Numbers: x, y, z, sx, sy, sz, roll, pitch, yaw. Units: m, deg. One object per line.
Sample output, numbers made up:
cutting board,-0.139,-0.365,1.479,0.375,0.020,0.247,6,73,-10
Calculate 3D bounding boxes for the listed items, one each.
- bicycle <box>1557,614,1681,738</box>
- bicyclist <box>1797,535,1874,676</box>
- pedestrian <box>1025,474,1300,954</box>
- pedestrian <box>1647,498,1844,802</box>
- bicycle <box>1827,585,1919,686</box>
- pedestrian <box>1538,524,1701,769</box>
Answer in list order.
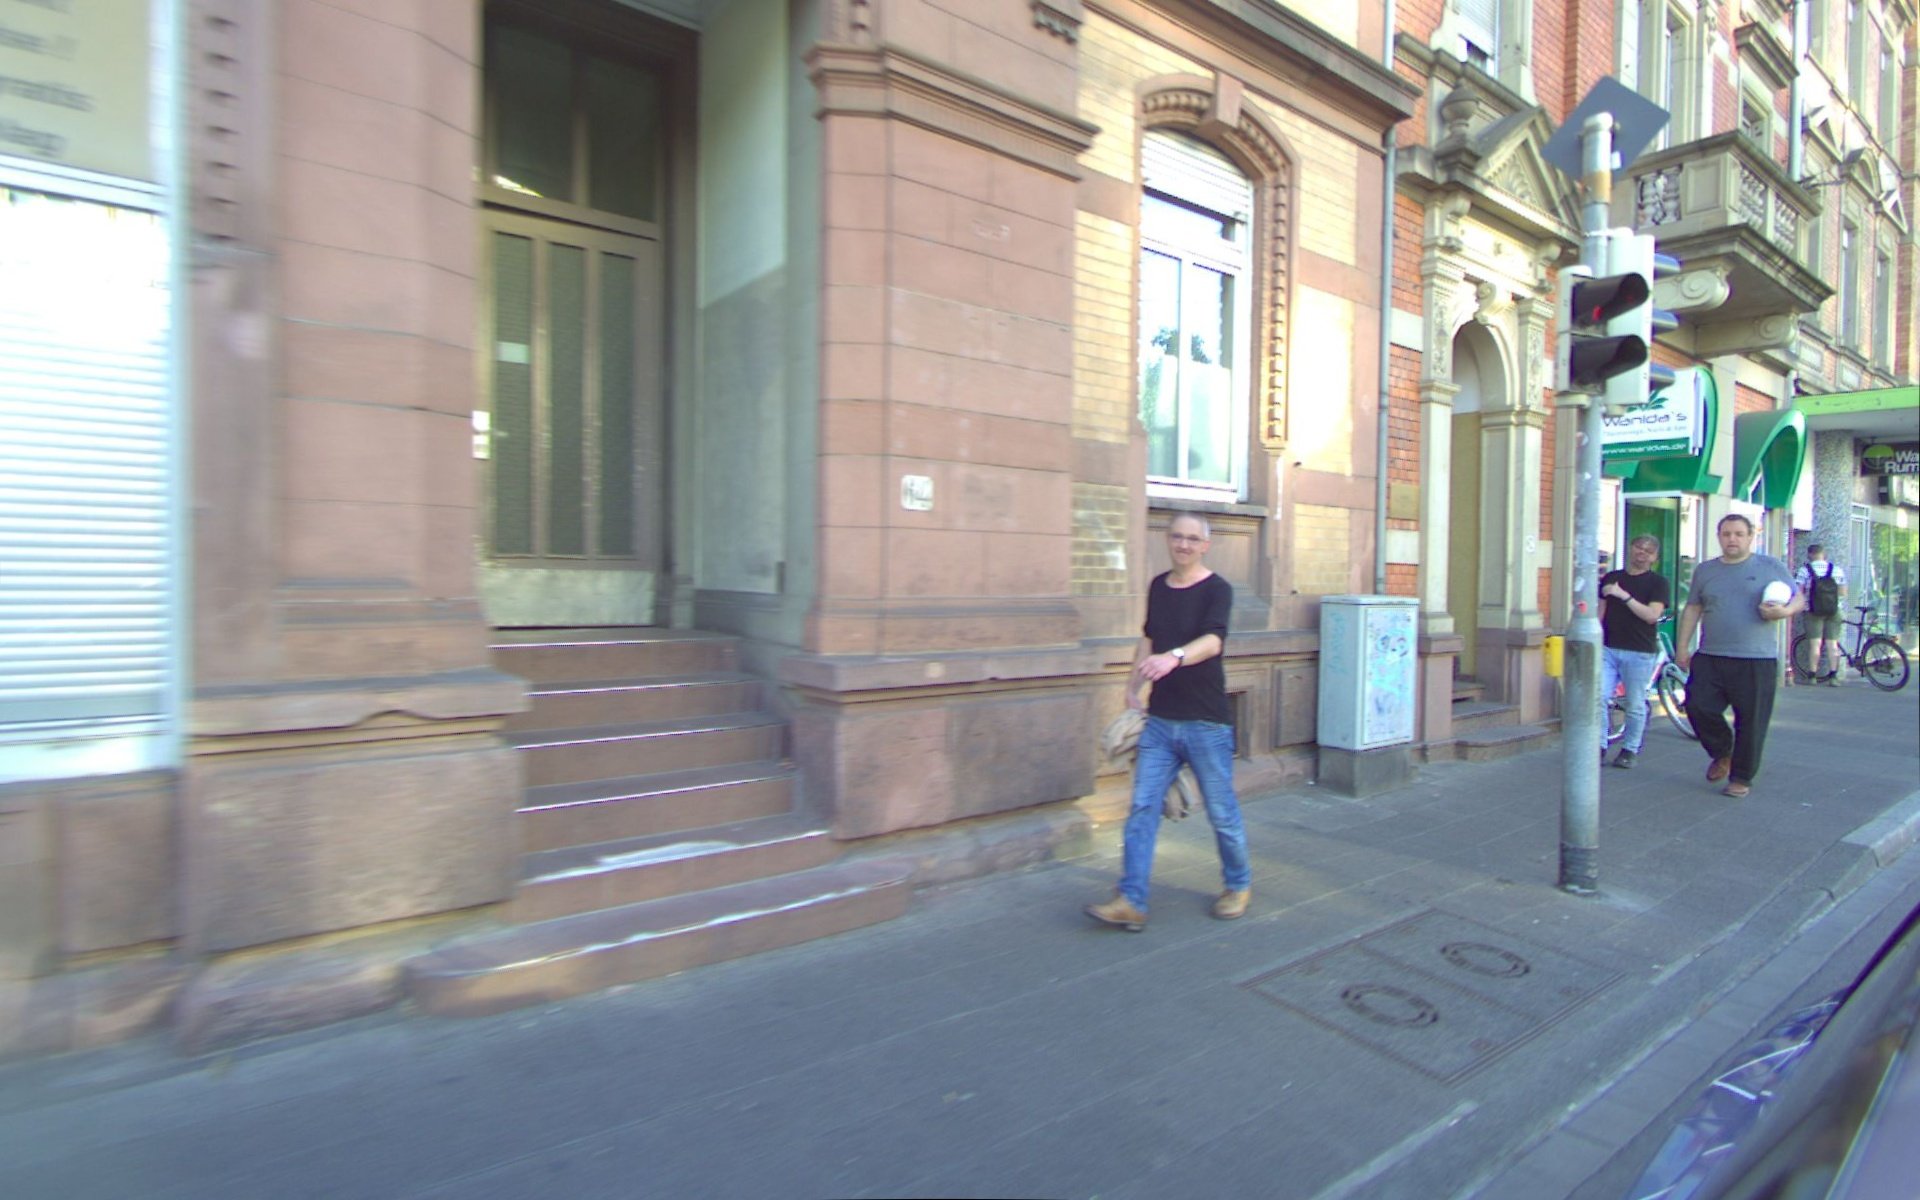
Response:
bicycle,5.811,0.643,8.914,1.215,1.008,0.346,0,3,-29
bicyclist,12.245,0.059,14.174,0.594,1.905,0.737,1,1,26
pedestrian,0.823,0.392,4.194,0.740,1.744,0.778,0,3,-37
pedestrian,5.353,0.293,6.916,0.740,1.917,0.824,0,3,-37
bicycle,12.712,0.448,13.962,0.662,1.269,1.878,1,2,26
pedestrian,5.027,0.311,7.727,0.740,1.744,0.778,0,3,-37
